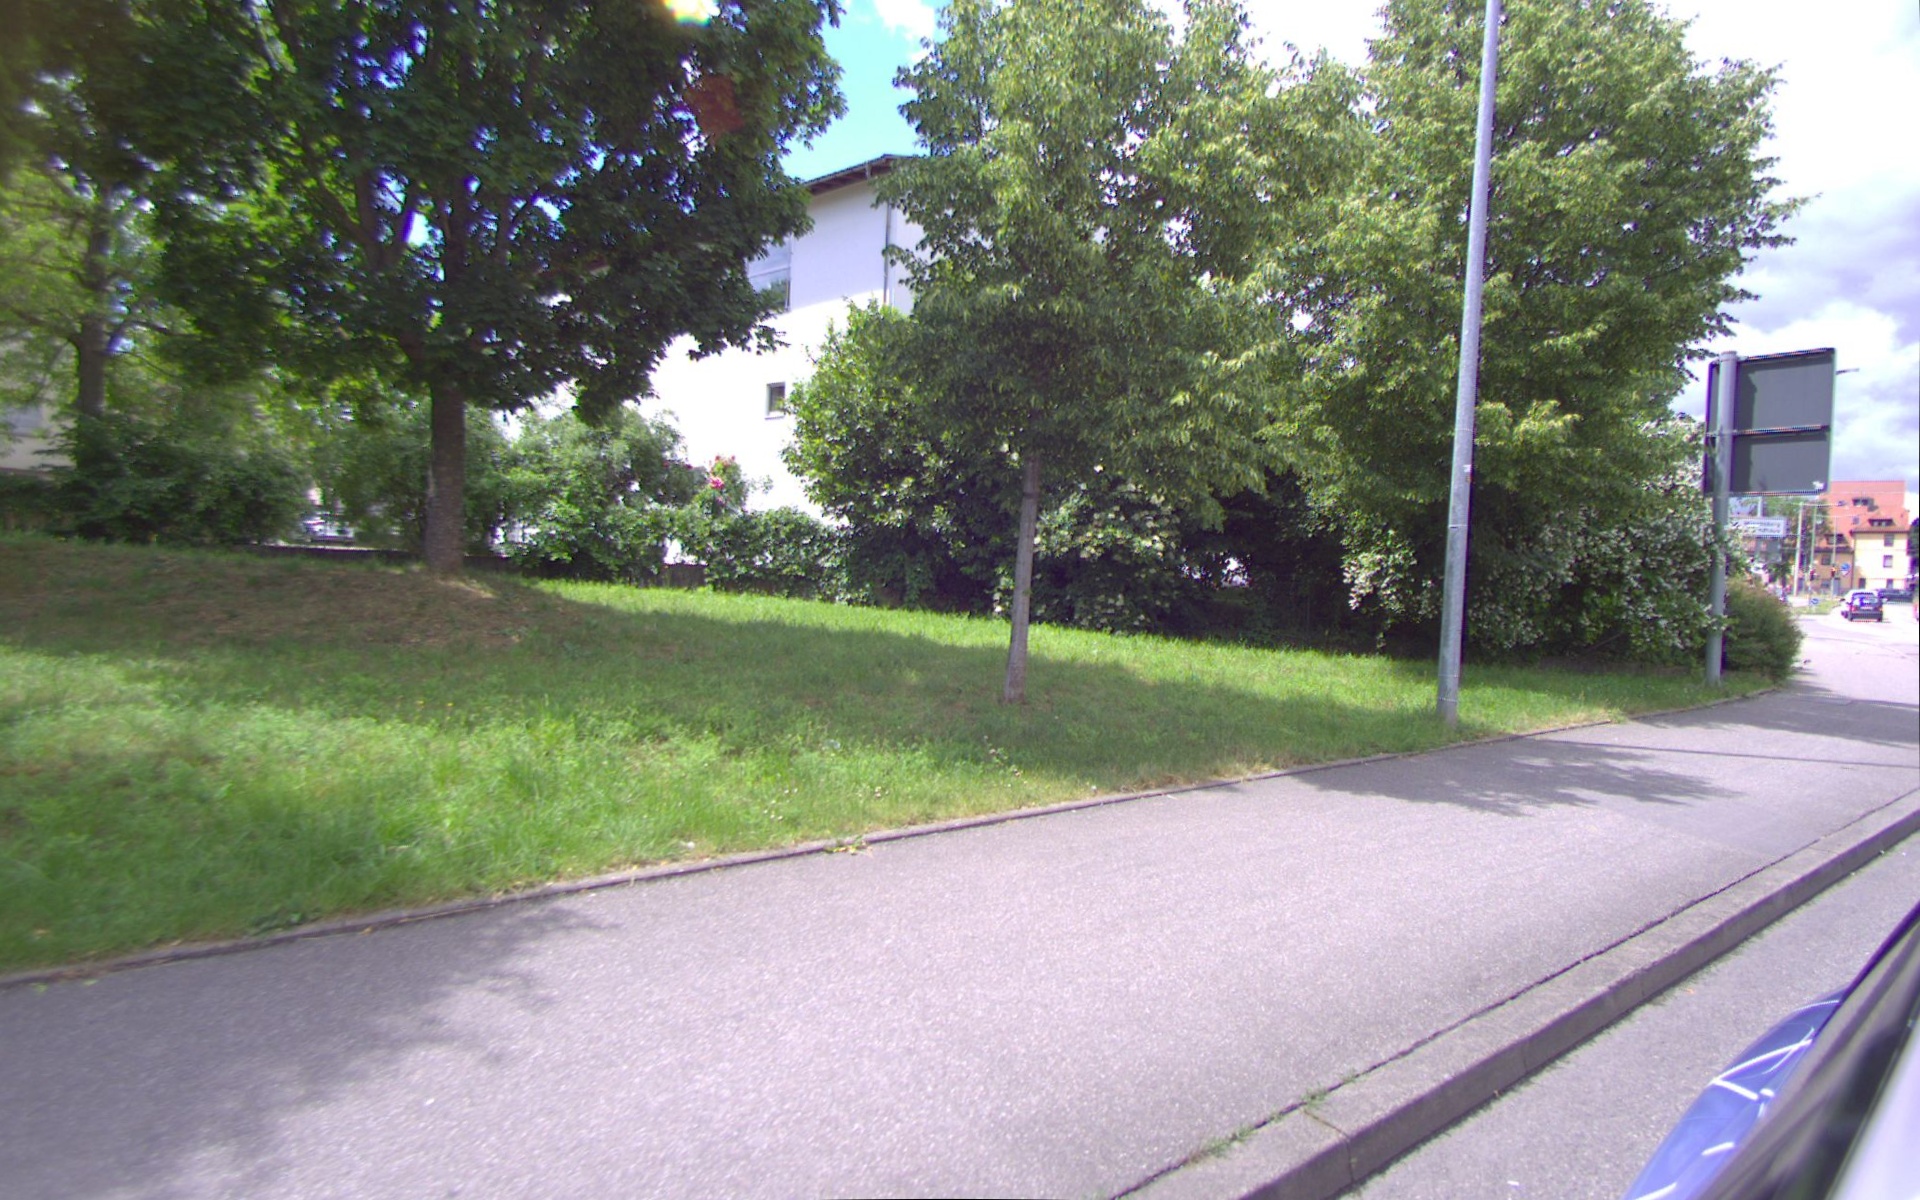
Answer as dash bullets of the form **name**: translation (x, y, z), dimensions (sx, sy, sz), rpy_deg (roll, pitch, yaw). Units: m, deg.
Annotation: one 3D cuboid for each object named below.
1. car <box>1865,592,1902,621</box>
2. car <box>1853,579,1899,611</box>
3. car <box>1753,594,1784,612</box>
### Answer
- **car**: translation (54.188, 0.360, 59.394), dimensions (1.529, 1.570, 3.676), rpy_deg (2, 2, 42)
- **car**: translation (58.808, -0.329, 65.024), dimensions (1.759, 1.683, 4.442), rpy_deg (5, -1, 38)
- **car**: translation (68.707, 0.275, 86.053), dimensions (1.874, 1.446, 3.946), rpy_deg (3, 1, 37)
